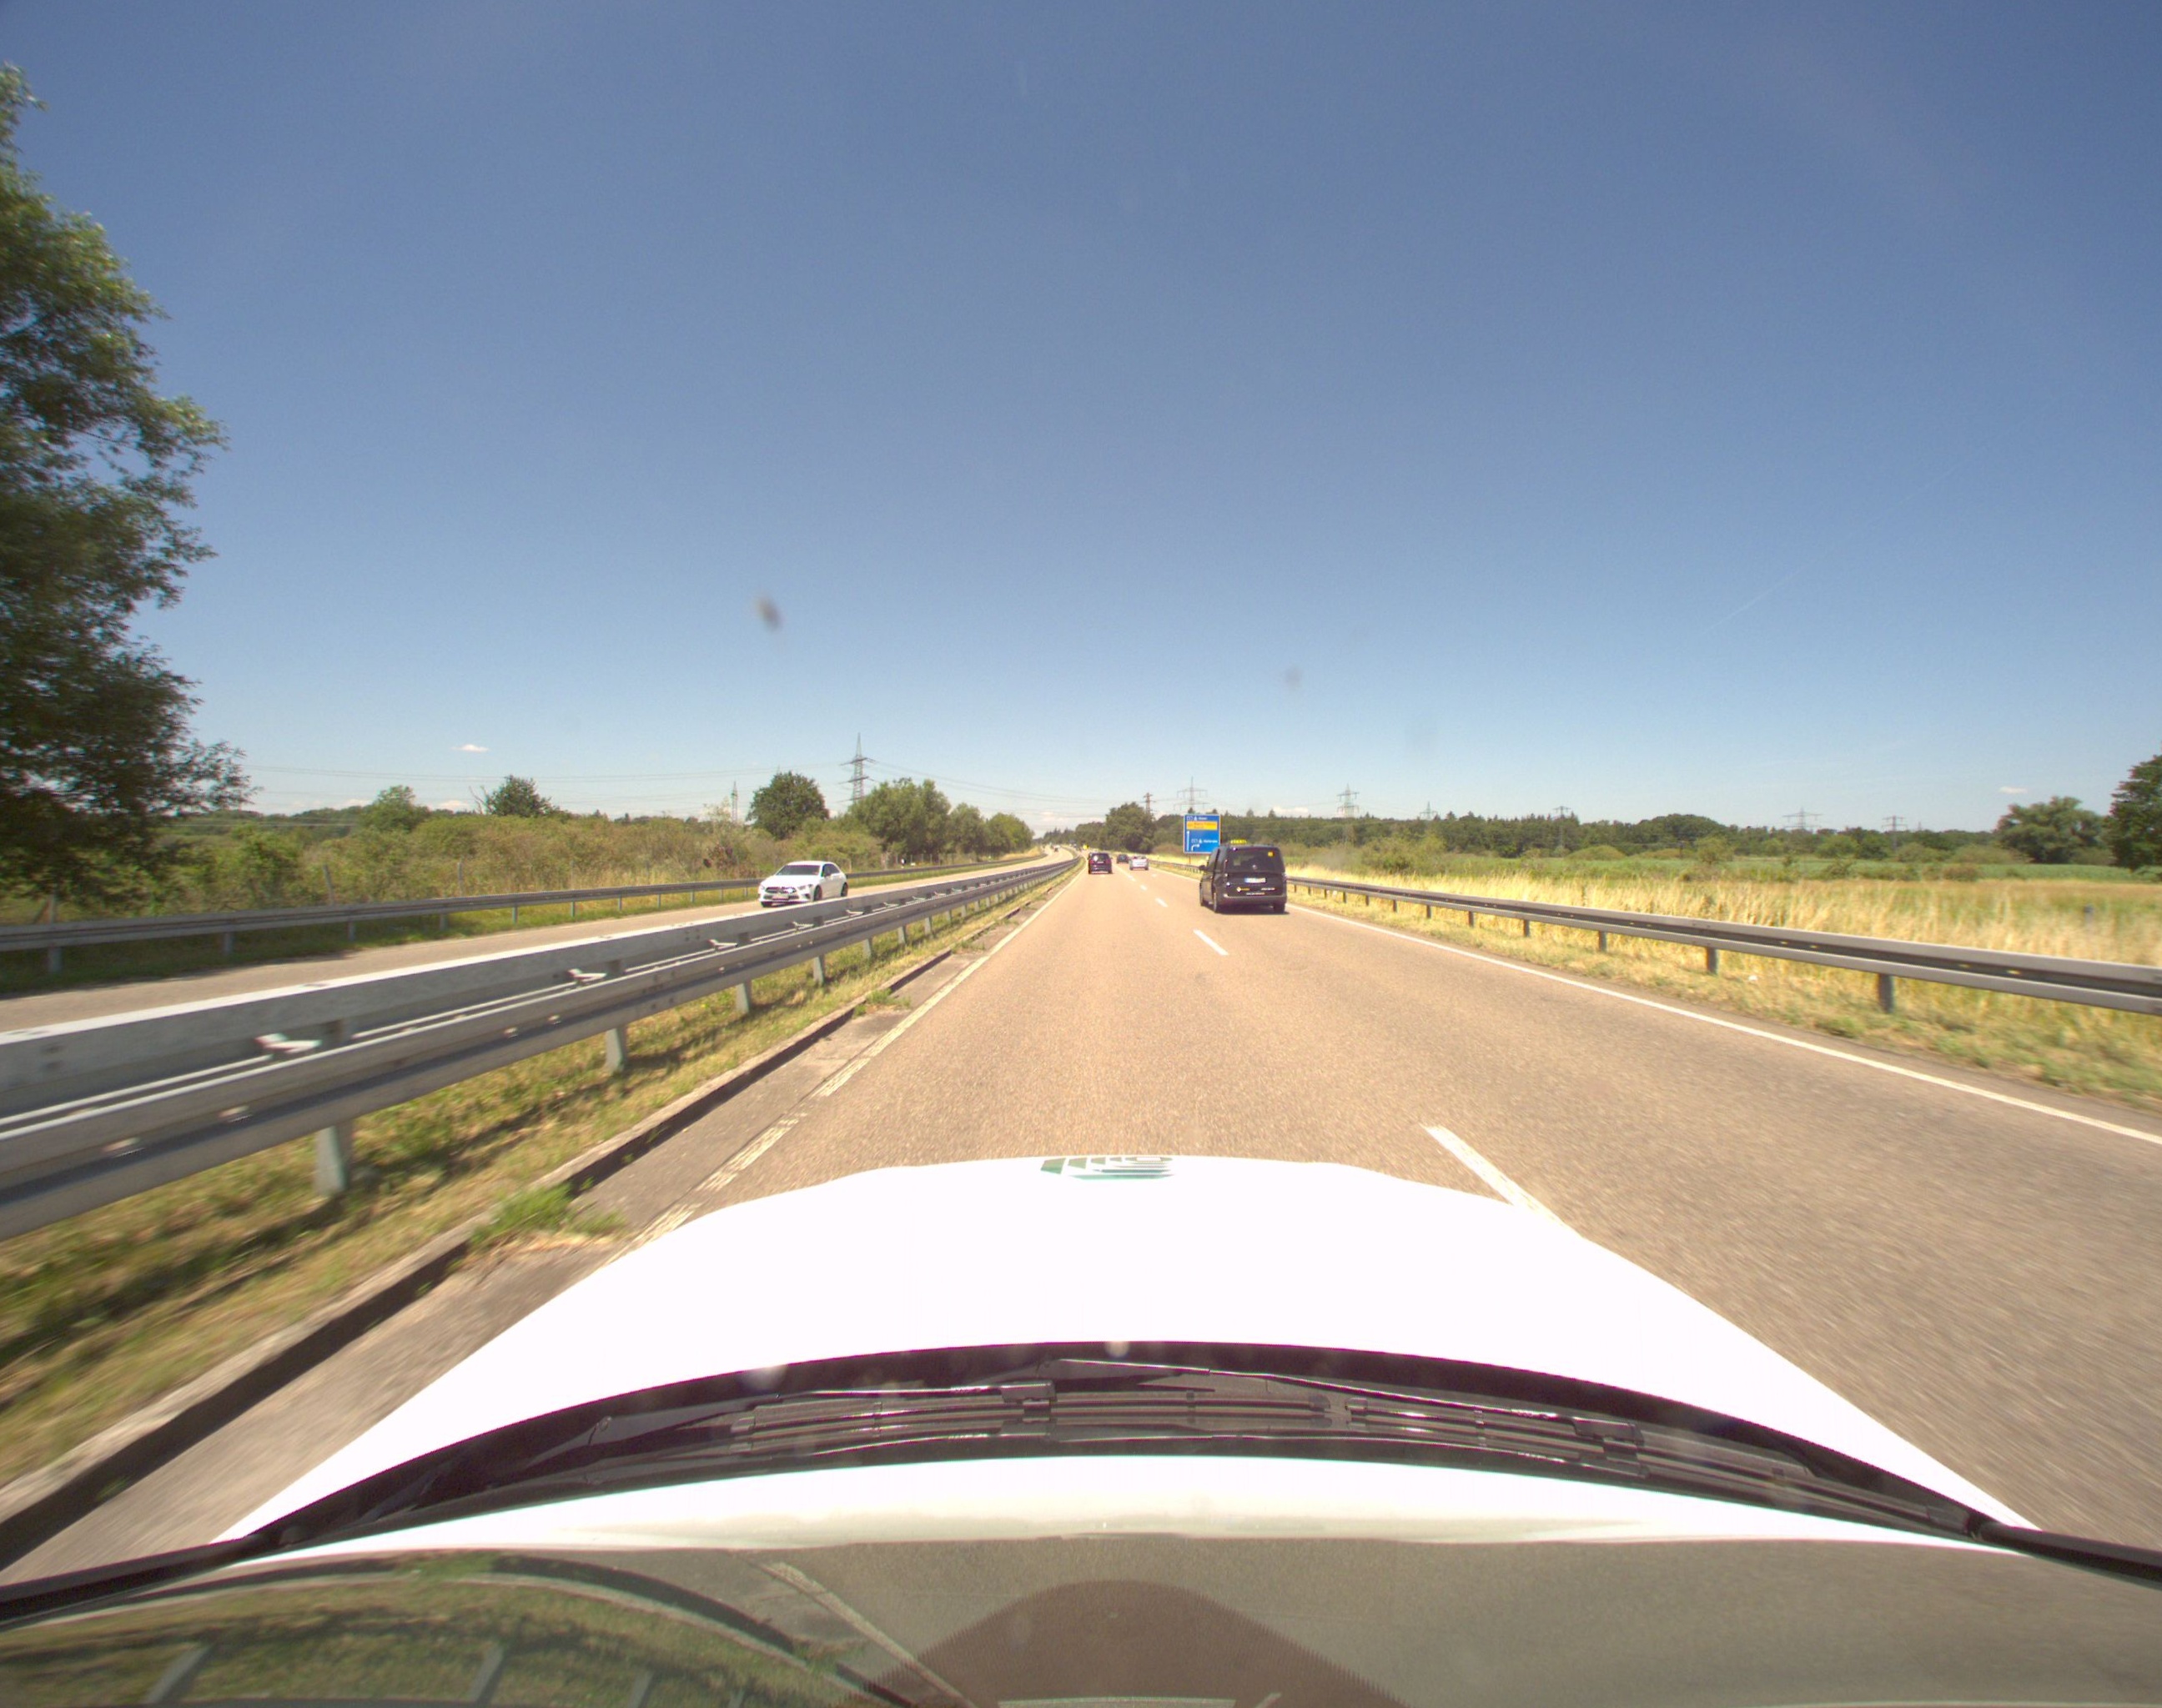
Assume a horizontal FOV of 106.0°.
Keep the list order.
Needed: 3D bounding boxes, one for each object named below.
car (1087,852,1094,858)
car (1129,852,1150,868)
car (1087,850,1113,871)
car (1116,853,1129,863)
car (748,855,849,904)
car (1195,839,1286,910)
[{"bbox_3d":[2.200,0.227,184.701,1.510,1.475,3.065,0,0,0],"label":"car"},{"bbox_3d":[5.587,0.527,78.366,1.772,1.479,4.316,0,0,1],"label":"car"},{"bbox_3d":[1.540,0.488,65.727,1.986,1.654,4.001,0,0,1],"label":"car"},{"bbox_3d":[6.192,0.627,121.958,1.812,1.414,4.002,-1,0,2],"label":"car"},{"bbox_3d":[-9.252,0.784,27.079,1.820,1.497,4.104,1,0,1],"label":"car"},{"bbox_3d":[4.380,0.512,23.025,1.774,1.817,4.213,0,0,0],"label":"car"}]
